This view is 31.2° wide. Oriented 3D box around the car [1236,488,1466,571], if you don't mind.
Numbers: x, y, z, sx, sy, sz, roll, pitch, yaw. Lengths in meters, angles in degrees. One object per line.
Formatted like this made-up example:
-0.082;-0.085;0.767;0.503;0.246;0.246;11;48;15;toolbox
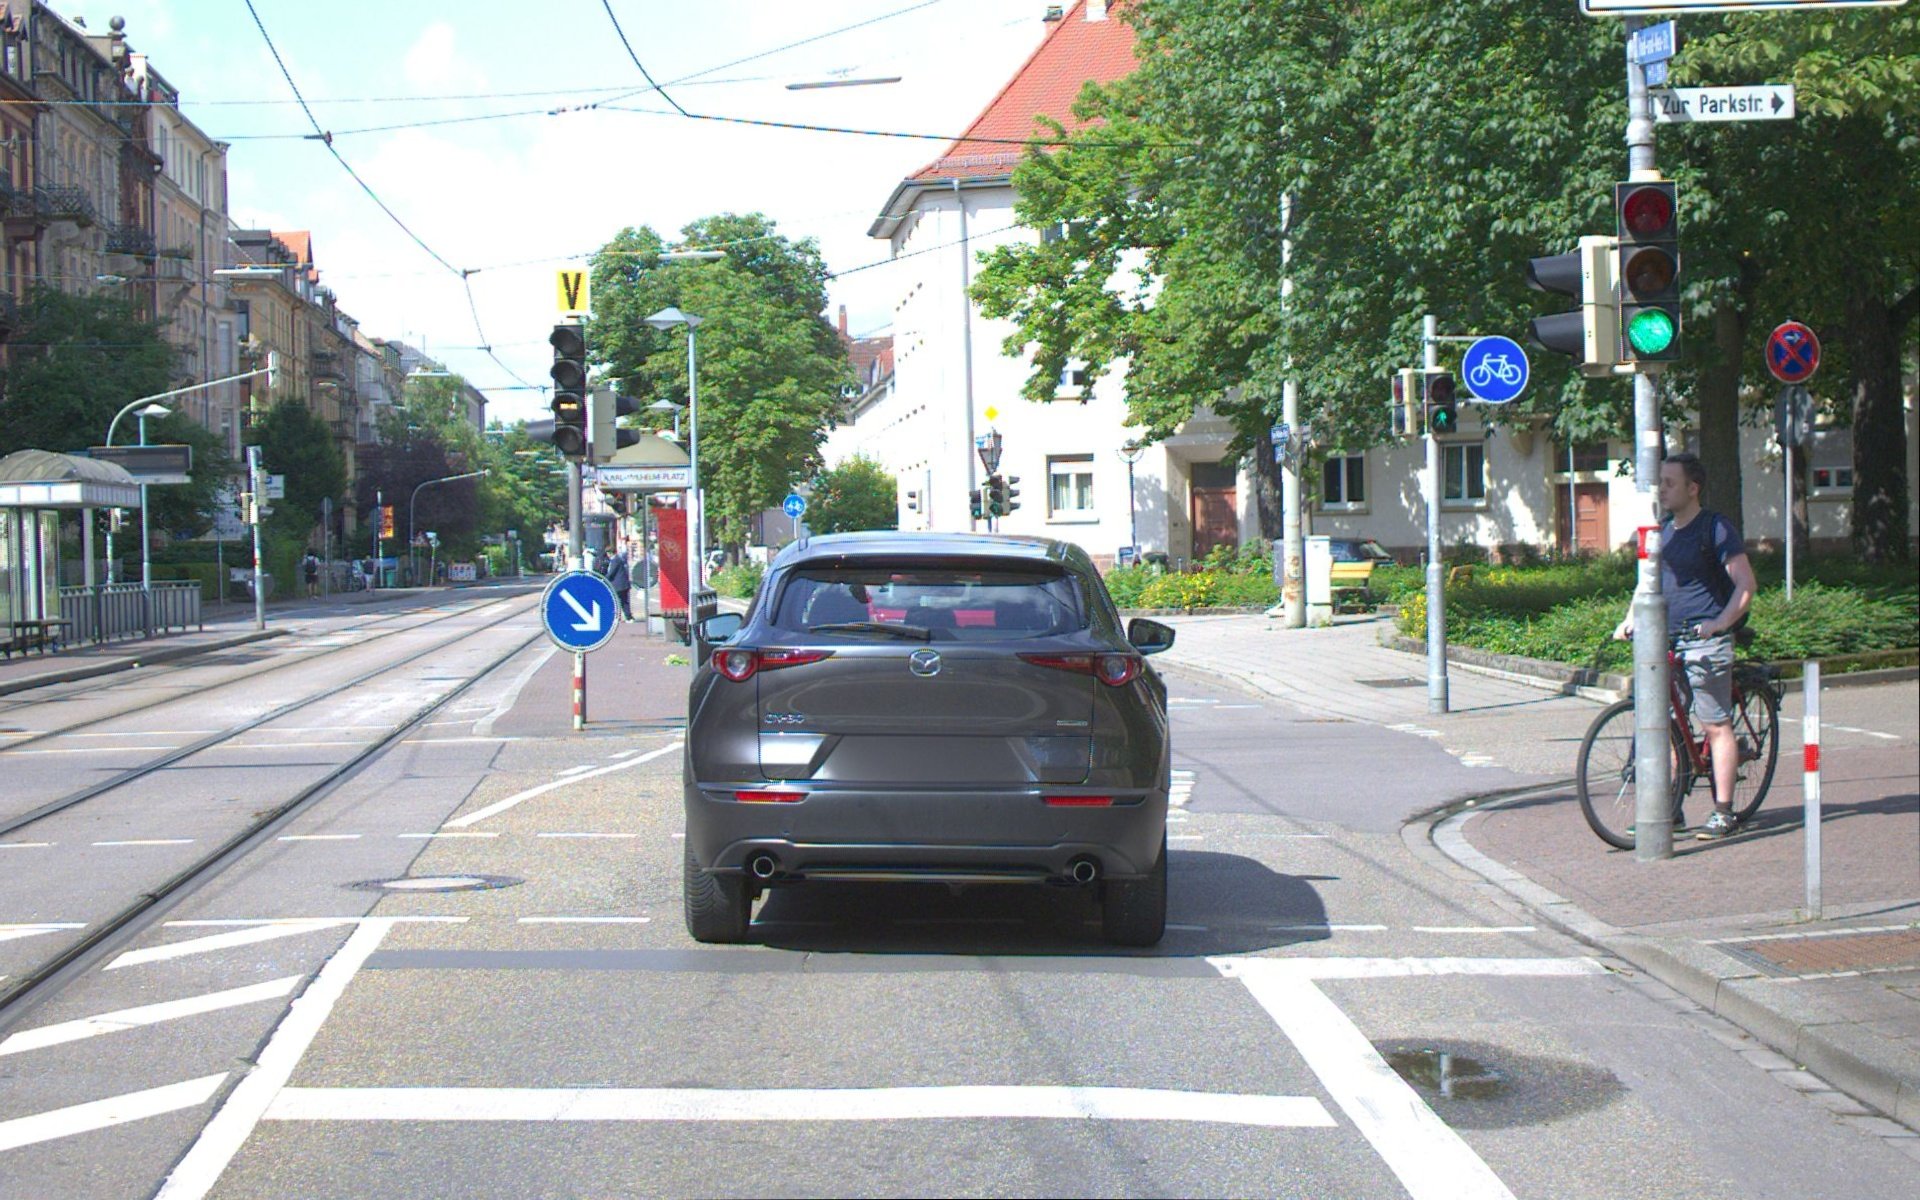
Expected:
7.760;-1.389;68.392;4.167;1.504;1.848;0;3;38;car

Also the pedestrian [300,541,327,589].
-22.970;-1.239;122.162;0.788;1.682;0.732;-1;1;-3;pedestrian

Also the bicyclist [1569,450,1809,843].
3.477;0.207;16.431;0.733;1.813;0.820;-2;1;-27;bicyclist

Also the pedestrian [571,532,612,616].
-7.493;-0.530;69.896;0.770;1.669;0.668;-1;1;-5;pedestrian

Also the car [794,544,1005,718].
-0.602;0.229;30.923;1.775;1.459;3.843;0;1;-3;car

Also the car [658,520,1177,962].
-0.170;0.471;13.941;1.782;1.509;4.000;1;1;-1;car

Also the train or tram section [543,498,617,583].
-19.075;-2.906;173.294;2.997;3.970;13.811;-1;0;-4;train or tram section

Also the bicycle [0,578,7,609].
-23.992;-0.146;83.683;0.386;0.745;1.708;-1;1;31;bicycle

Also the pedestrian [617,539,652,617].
-6.529;-0.442;68.898;0.667;1.540;0.581;-1;1;-5;pedestrian

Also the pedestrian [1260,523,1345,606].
5.506;-0.577;55.315;1.192;1.264;0.558;-4;1;-9;pedestrian

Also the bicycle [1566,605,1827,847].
3.570;0.578;16.561;0.389;1.032;1.841;-1;2;40;bicycle

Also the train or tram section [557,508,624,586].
-20.047;-2.806;187.125;2.997;3.970;13.811;-1;0;-4;train or tram section
